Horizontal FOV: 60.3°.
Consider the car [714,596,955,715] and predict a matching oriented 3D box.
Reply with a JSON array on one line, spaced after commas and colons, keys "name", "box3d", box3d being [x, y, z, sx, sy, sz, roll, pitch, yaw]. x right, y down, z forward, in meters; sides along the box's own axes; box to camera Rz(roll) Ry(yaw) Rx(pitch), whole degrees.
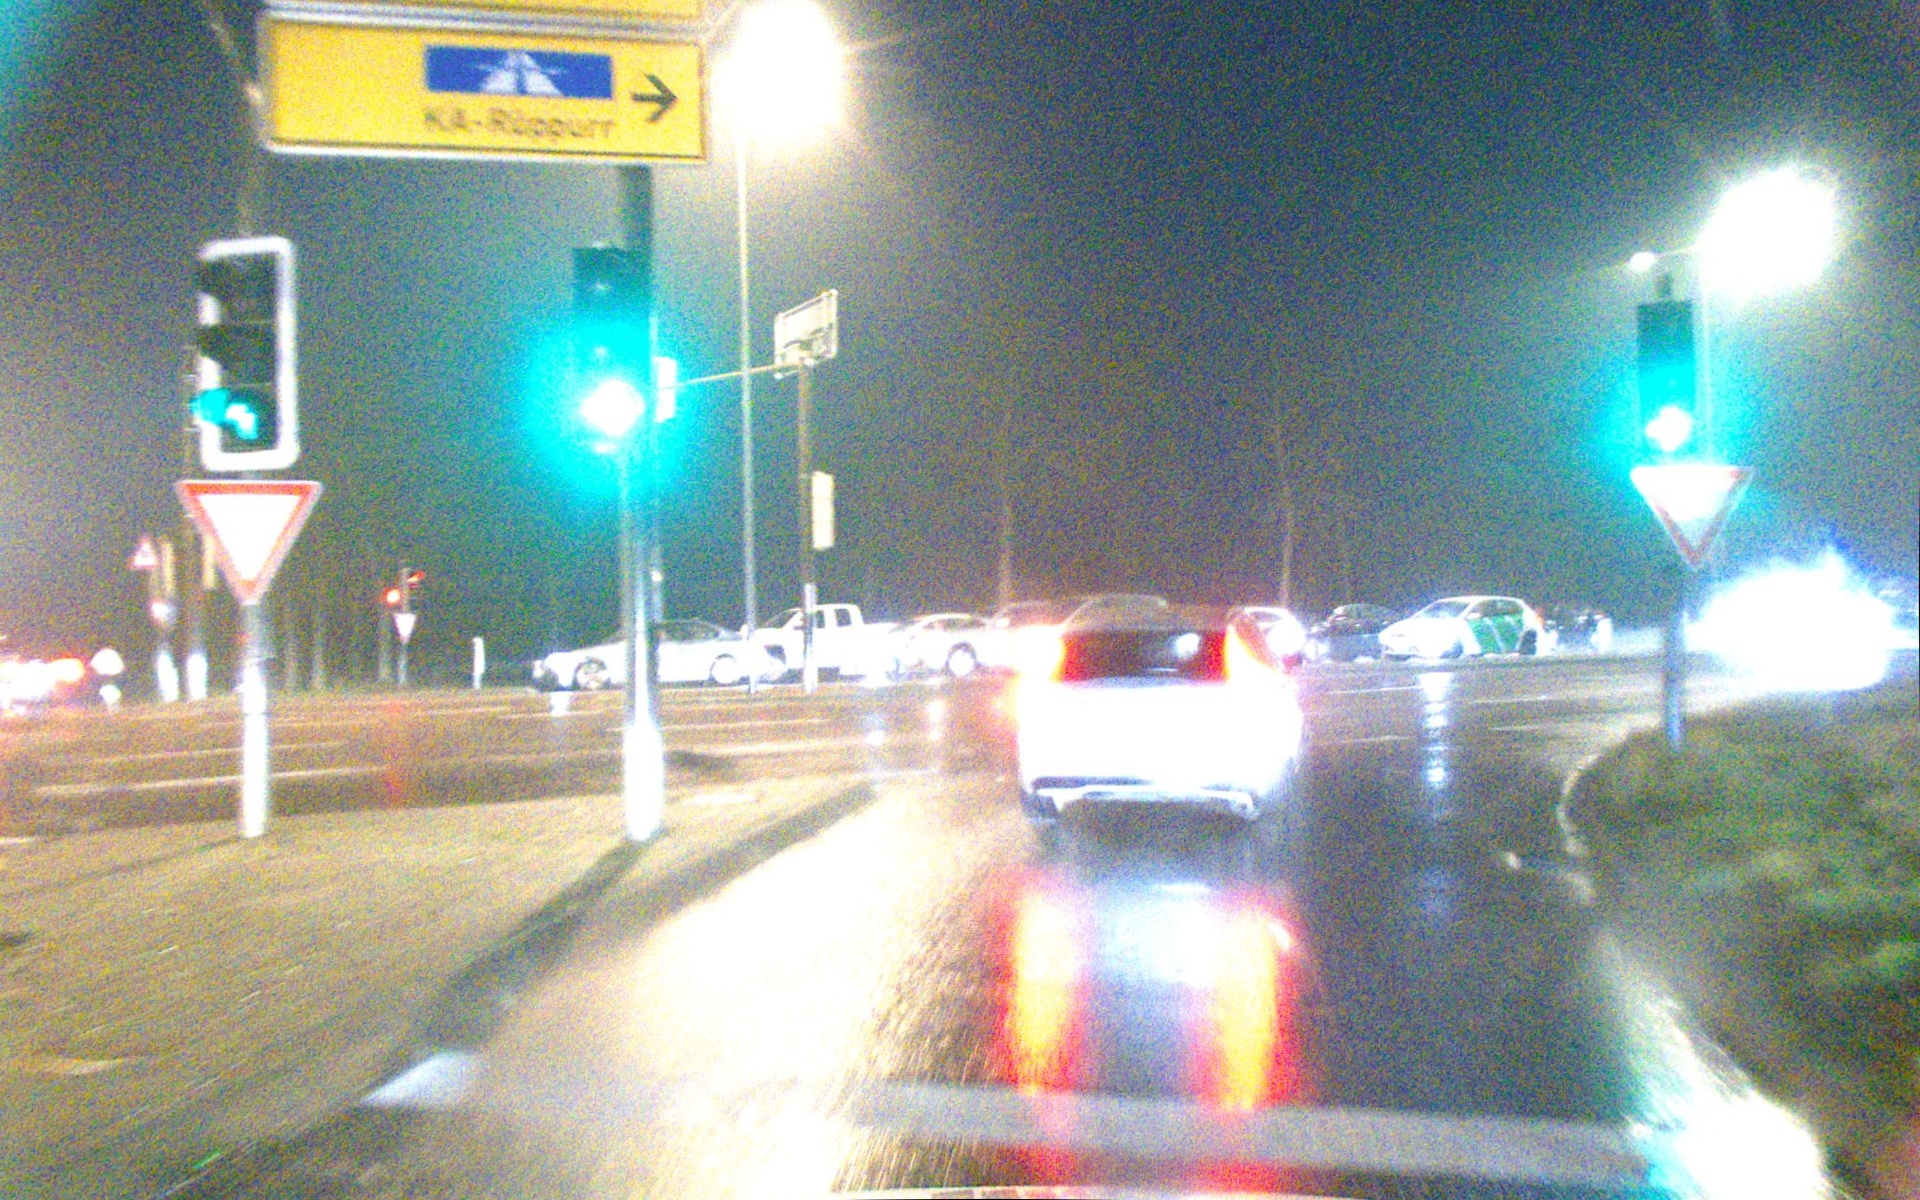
[{"name": "car", "box3d": [-3.054, 1.359, 40.691, 5.533, 2.758, 2.233, 1, -2, -31]}]

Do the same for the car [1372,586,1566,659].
[{"name": "car", "box3d": [11.557, 0.468, 37.474, 4.352, 1.509, 1.764, -1, 1, -31]}]

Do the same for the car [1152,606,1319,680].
[{"name": "car", "box3d": [7.170, 1.123, 42.938, 4.195, 1.831, 1.784, 1, -2, -32]}]

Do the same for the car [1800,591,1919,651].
[{"name": "car", "box3d": [26.075, 0.581, 47.257, 4.251, 1.605, 1.798, -1, -2, -33]}]

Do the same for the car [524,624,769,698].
[{"name": "car", "box3d": [-6.486, 1.256, 34.411, 4.738, 1.452, 1.747, 1, -2, -31]}]

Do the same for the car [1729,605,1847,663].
[{"name": "car", "box3d": [28.120, 1.183, 56.141, 3.947, 1.881, 1.810, 2, -2, -32]}]

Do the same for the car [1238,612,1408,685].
[{"name": "car", "box3d": [8.813, 1.172, 40.072, 3.925, 1.695, 1.784, 1, -2, -32]}]

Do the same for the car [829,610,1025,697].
[{"name": "car", "box3d": [-0.728, 1.218, 37.859, 4.228, 1.881, 1.746, 1, -2, -32]}]

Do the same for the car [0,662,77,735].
[{"name": "car", "box3d": [-24.384, 2.546, 43.587, 1.809, 1.682, 4.434, 2, -1, -30]}]

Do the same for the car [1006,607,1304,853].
[{"name": "car", "box3d": [1.612, 0.791, 12.230, 1.758, 1.477, 4.272, 0, 0, 13]}]

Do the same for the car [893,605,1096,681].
[{"name": "car", "box3d": [0.733, 0.910, 34.902, 3.998, 1.513, 1.702, 1, -2, -28]}]

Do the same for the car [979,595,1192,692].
[{"name": "car", "box3d": [2.463, 0.813, 32.349, 3.847, 1.755, 1.748, -1, 0, -30]}]
